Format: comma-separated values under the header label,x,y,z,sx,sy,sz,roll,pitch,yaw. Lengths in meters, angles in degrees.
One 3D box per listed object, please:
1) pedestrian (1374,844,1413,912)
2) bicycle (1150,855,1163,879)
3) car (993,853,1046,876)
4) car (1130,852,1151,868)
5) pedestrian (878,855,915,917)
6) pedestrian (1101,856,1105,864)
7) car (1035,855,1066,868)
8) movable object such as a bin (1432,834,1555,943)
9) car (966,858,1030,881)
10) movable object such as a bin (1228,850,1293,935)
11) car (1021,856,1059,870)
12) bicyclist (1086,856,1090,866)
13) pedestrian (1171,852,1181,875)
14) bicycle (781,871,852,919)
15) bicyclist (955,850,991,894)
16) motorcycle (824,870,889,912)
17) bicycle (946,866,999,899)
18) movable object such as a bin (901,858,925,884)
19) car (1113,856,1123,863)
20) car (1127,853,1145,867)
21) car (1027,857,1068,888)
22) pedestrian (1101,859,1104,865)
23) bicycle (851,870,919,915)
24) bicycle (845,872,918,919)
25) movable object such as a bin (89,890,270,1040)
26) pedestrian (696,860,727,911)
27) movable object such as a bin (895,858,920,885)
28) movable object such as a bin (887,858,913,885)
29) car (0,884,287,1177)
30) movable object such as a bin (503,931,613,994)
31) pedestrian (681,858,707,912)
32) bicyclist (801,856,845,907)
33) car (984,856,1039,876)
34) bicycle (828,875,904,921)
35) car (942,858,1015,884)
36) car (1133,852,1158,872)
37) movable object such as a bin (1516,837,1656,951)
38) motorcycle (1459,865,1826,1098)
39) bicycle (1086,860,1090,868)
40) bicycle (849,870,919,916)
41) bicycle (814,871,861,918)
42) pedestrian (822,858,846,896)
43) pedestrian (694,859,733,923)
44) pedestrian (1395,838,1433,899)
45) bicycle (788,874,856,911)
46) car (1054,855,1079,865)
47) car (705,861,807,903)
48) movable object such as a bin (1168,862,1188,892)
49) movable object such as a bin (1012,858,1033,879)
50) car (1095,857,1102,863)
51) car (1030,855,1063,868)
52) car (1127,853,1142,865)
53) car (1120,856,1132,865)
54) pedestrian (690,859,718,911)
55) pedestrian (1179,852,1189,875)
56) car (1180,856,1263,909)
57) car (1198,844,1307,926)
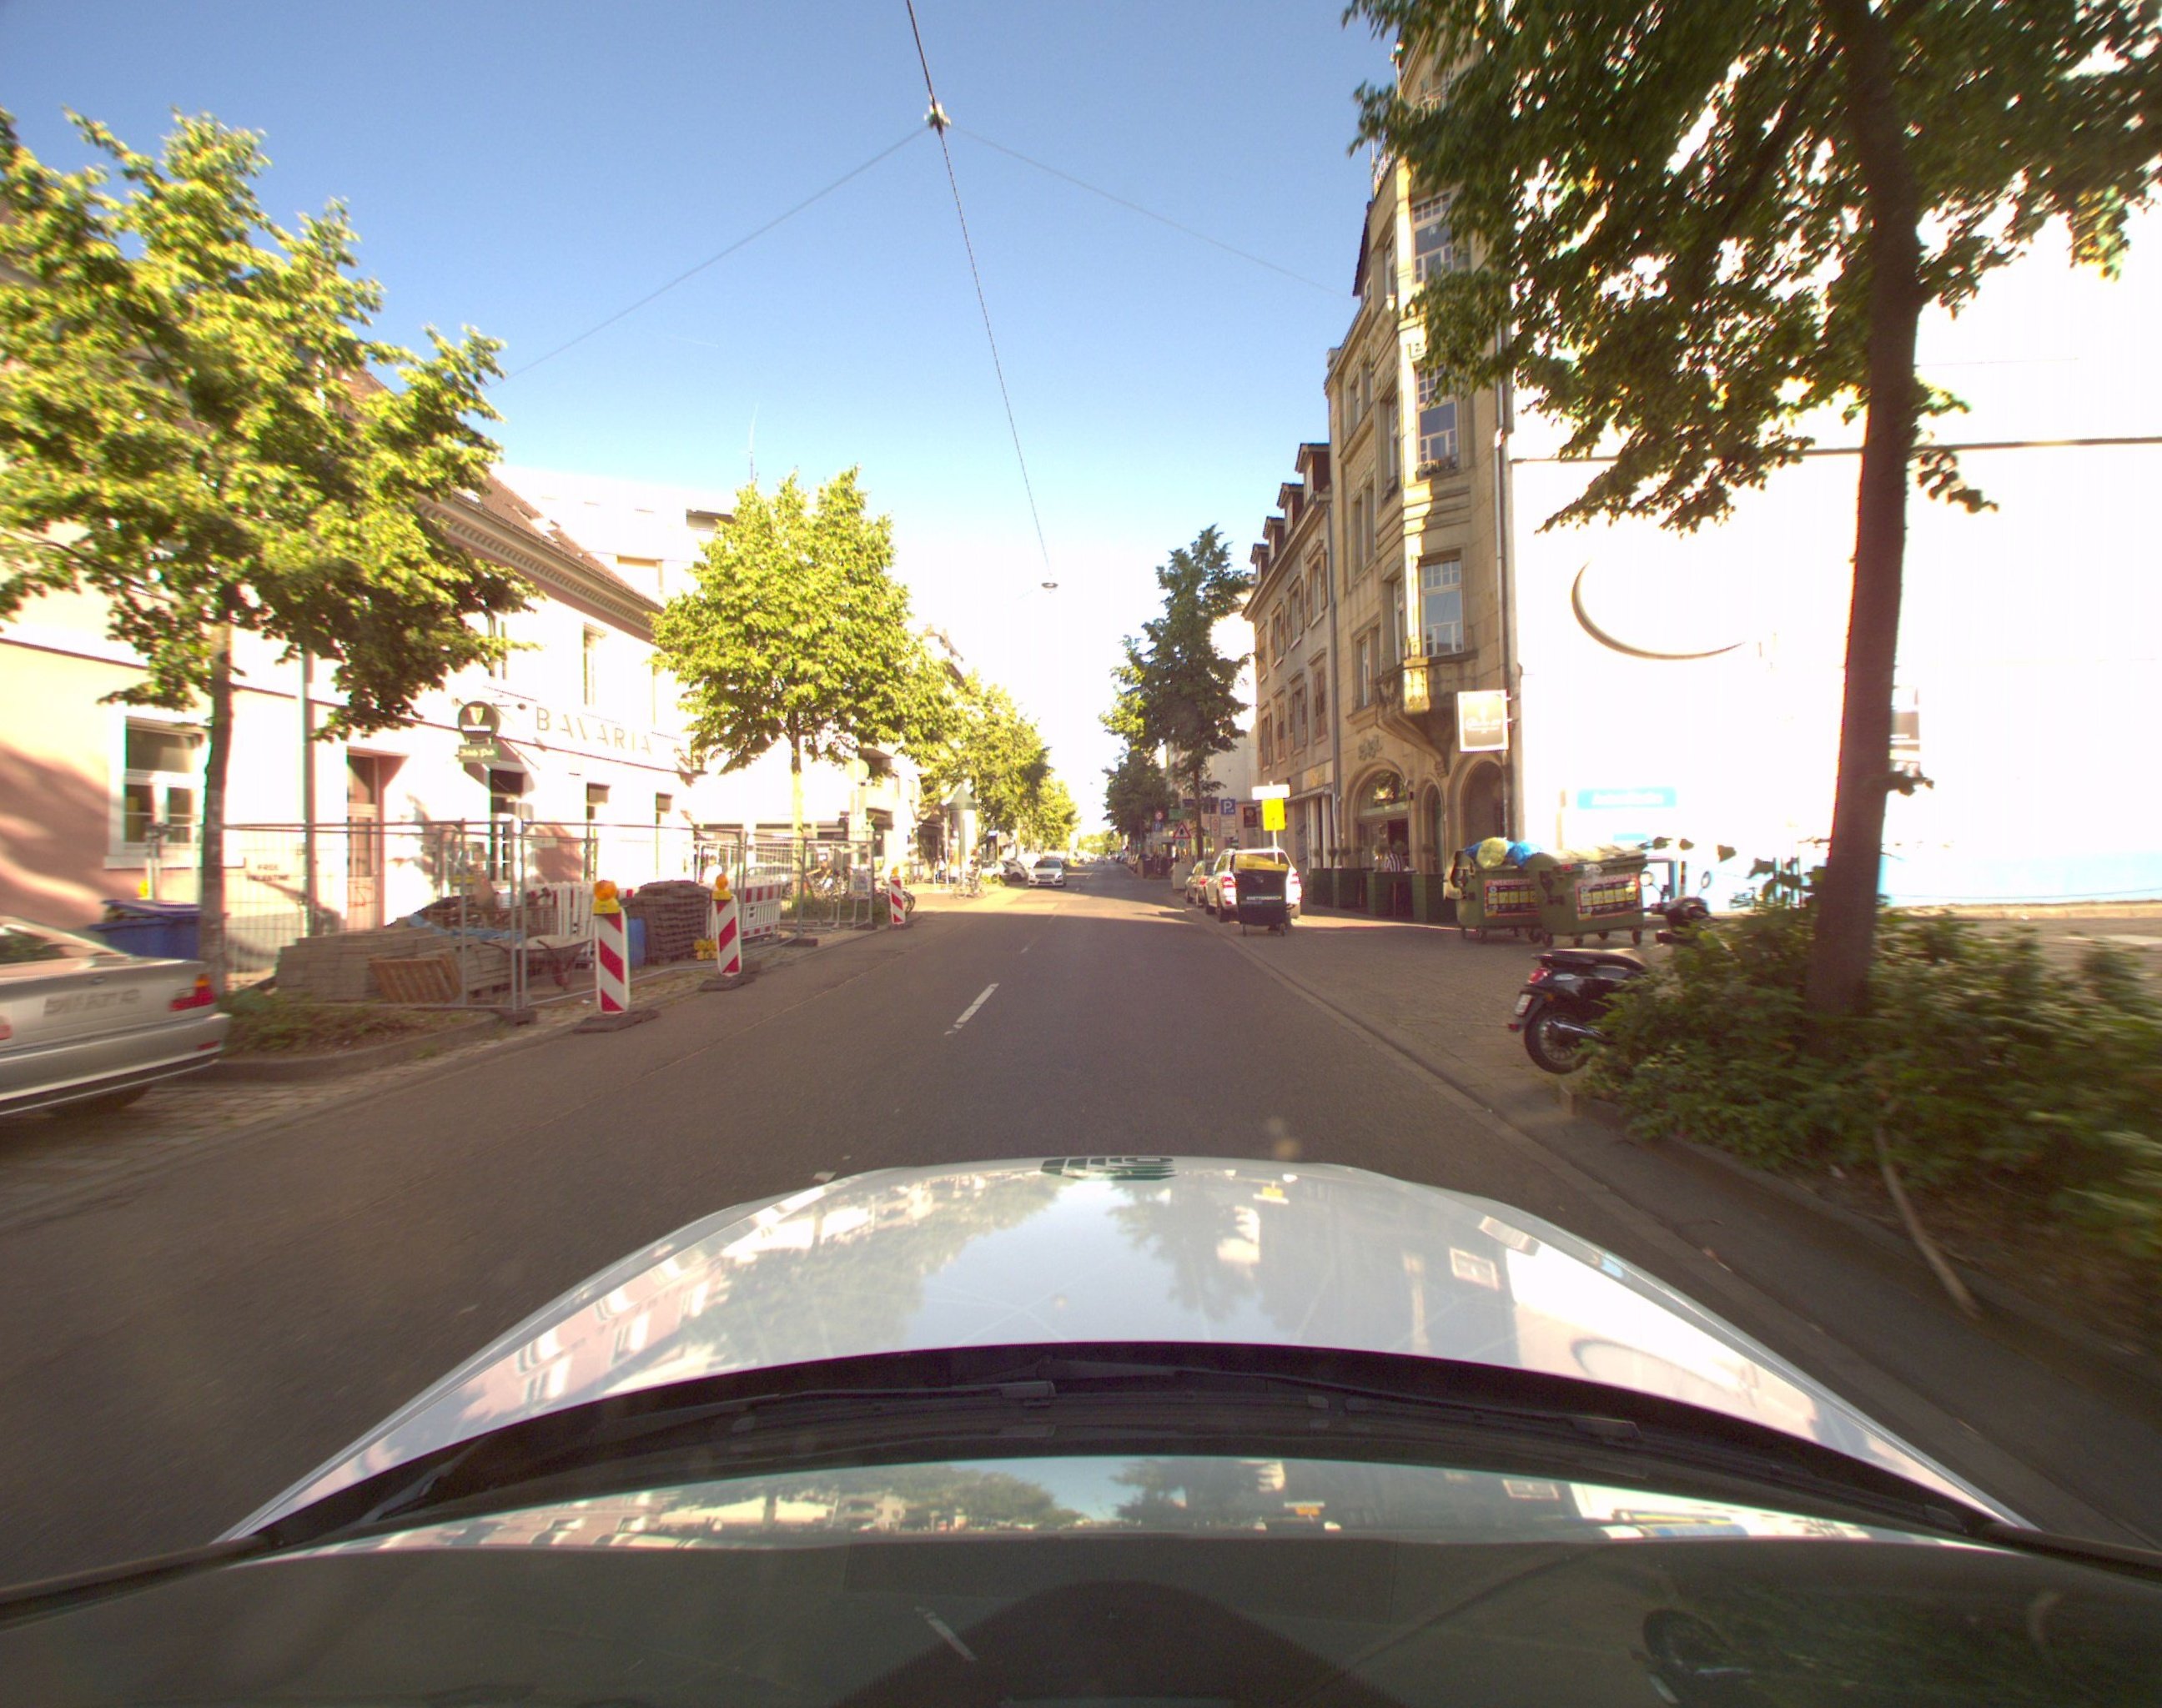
label,x,y,z,sx,sy,sz,roll,pitch,yaw
pedestrian,7.298,0.544,19.059,0.608,1.540,0.699,-2,0,1
bicycle,4.827,0.811,52.022,0.558,1.441,1.629,-7,0,2
car,-5.041,0.851,67.025,3.966,1.694,2.004,-2,0,6
car,6.141,0.610,85.056,1.986,1.609,4.001,-2,0,2
pedestrian,-5.170,0.875,22.825,0.797,1.707,0.759,0,0,-31
pedestrian,4.015,1.151,148.381,0.544,1.472,0.546,-2,0,-1
car,-3.979,0.964,106.810,3.973,1.500,2.000,-2,0,0
movable object such as a bin,6.641,0.531,13.228,1.201,1.627,1.498,-2,0,0
car,-5.505,1.041,54.114,3.973,1.390,2.000,-2,0,0
movable object such as a bin,3.481,0.726,15.907,1.135,1.562,1.463,-2,0,10
car,-4.509,0.985,89.795,3.973,1.500,2.000,-2,0,0
bicyclist,1.100,1.130,131.893,0.558,1.548,0.728,-1,-1,1
pedestrian,6.938,0.695,59.538,0.545,1.649,0.664,-1,0,-3
bicycle,-7.148,1.100,22.013,1.775,1.252,0.602,0,0,12
bicyclist,-4.277,0.714,32.303,0.712,1.693,1.164,-2,0,44
motorcycle,-6.938,1.127,25.237,1.852,1.229,0.754,0,0,-10
bicycle,-4.293,1.102,32.277,0.712,1.220,2.048,-2,0,44
movable object such as a bin,-10.107,1.011,49.078,1.168,1.485,1.315,-2,0,-1
car,7.768,1.138,172.508,1.986,1.508,4.001,-1,-1,1
car,6.586,0.711,97.692,1.986,1.609,4.001,-2,0,2
car,-1.689,0.923,42.104,1.796,1.435,4.410,-3,0,1
pedestrian,3.964,1.513,147.883,0.544,1.026,0.546,-2,0,-1
bicycle,-5.712,1.112,23.814,1.852,1.252,0.599,0,0,-6
bicycle,-5.404,1.115,22.152,1.852,1.252,0.599,0,0,-6
movable object such as a bin,-7.895,0.940,7.173,0.730,1.186,0.744,-2,0,-7
pedestrian,-12.458,1.064,27.462,0.650,1.667,0.658,-2,0,12
movable object such as a bin,-10.096,1.011,47.447,1.168,1.485,1.315,-2,0,-1
movable object such as a bin,-10.216,0.988,45.992,1.136,1.485,1.235,-2,0,-1
car,-7.723,0.933,4.565,4.667,1.412,1.807,-1,0,-2
movable object such as a bin,-6.440,1.319,10.082,0.625,0.616,1.078,-2,0,1
pedestrian,-12.827,1.015,27.021,0.655,1.760,0.653,-1,0,-17
bicyclist,-8.217,0.866,25.952,0.759,1.560,1.047,-2,0,36
car,-5.486,0.913,64.233,3.966,1.457,1.872,-2,0,6
bicycle,-5.655,1.149,21.484,1.852,1.170,0.599,0,0,-6
car,-6.028,1.000,48.334,3.973,1.390,2.000,-2,0,0
car,5.629,0.692,71.636,1.986,1.609,4.001,-2,0,2
movable object such as a bin,7.300,0.559,11.845,1.266,1.530,1.176,-2,0,0
motorcycle,3.745,0.773,5.516,1.978,1.330,0.908,-2,0,-11
bicycle,1.115,1.603,131.870,0.558,1.180,1.629,-1,-1,2
bicycle,-5.582,1.096,23.171,1.852,1.252,0.599,0,0,-6
bicycle,-6.934,1.112,23.109,0.603,1.252,1.772,0,0,-41
pedestrian,-10.853,1.016,35.775,0.768,1.643,0.690,-2,0,3
pedestrian,-9.925,0.986,22.013,0.608,1.653,0.814,-2,0,5
pedestrian,8.753,0.375,21.408,0.694,1.566,0.612,-2,0,1
bicycle,-8.228,1.215,25.953,0.759,1.059,1.968,-2,0,36
car,-2.423,0.979,134.756,3.973,1.500,2.000,-2,0,0
car,-14.048,1.175,35.454,4.000,1.610,1.987,-2,0,-20
movable object such as a bin,4.027,0.942,33.817,0.703,1.222,0.680,-2,0,-1
movable object such as a bin,-4.356,1.049,60.770,1.330,1.478,1.480,-2,0,1
car,4.868,1.618,225.392,1.786,1.411,4.002,-2,0,2
car,-4.254,0.877,100.567,3.973,1.500,2.000,-2,0,0
car,7.754,0.751,118.021,1.986,1.609,4.001,-2,0,2
car,8.421,1.254,153.045,1.986,1.508,4.001,-1,-1,1
pedestrian,-12.967,1.052,27.988,0.653,1.760,0.656,-1,0,-6
pedestrian,7.592,0.684,60.149,0.545,1.649,0.664,-1,0,-3
car,4.286,0.830,25.489,1.816,1.391,4.301,-4,0,1
car,4.093,0.680,20.171,1.815,1.679,4.603,-4,0,2
